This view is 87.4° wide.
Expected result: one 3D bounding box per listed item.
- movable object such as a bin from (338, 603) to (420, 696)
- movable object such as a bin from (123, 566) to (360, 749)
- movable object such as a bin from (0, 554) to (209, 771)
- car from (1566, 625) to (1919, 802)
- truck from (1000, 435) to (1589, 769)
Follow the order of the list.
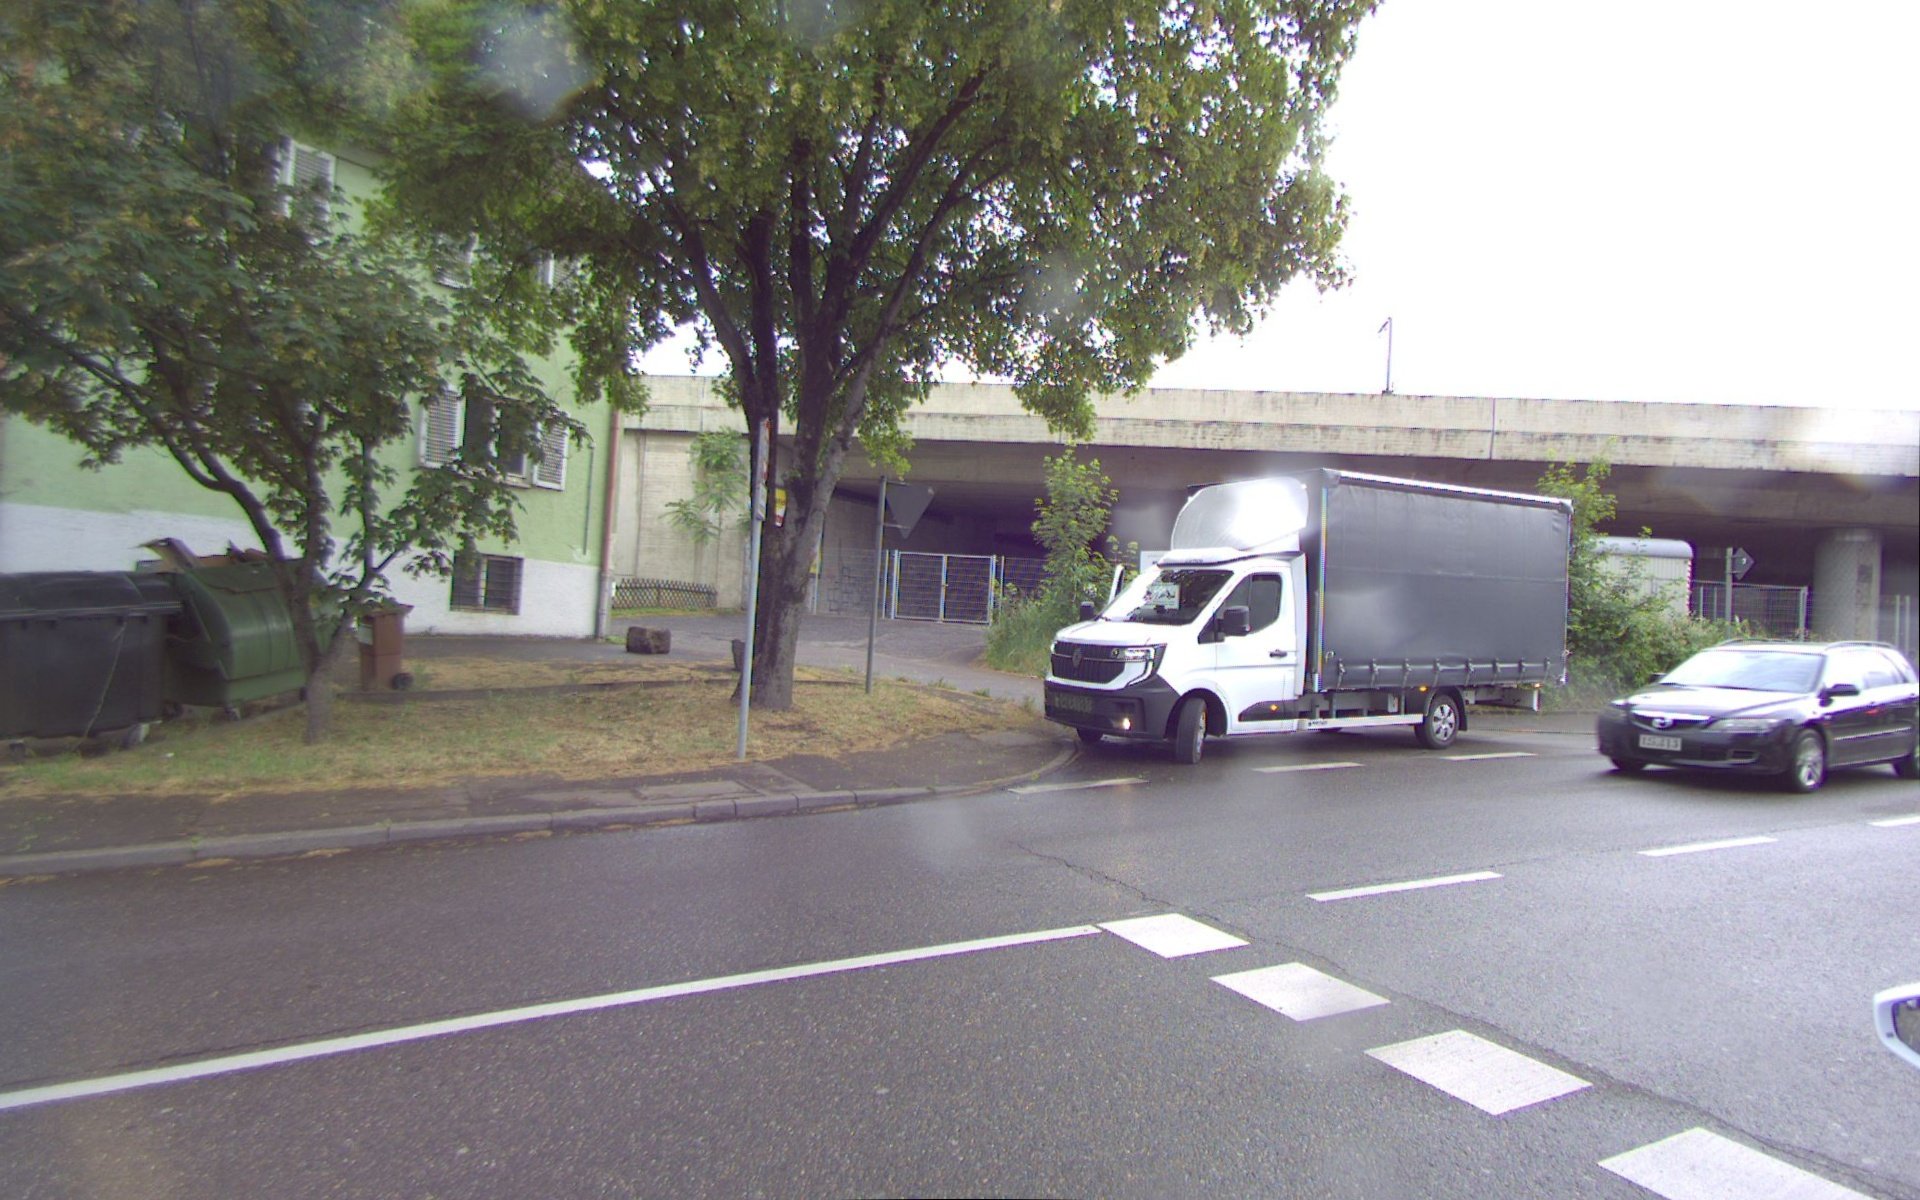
[{"bbox_3d":[-6.313,0.531,10.936,0.715,0.970,0.554,3,-1,-30],"label":"movable object such as a bin"},{"bbox_3d":[-6.689,0.471,9.454,1.078,1.457,1.463,5,5,13],"label":"movable object such as a bin"},{"bbox_3d":[-7.257,0.420,8.090,1.268,1.457,1.463,5,5,13],"label":"movable object such as a bin"},{"bbox_3d":[8.870,1.127,11.030,4.357,1.590,1.834,2,-1,-28],"label":"car"},{"bbox_3d":[4.502,0.172,12.886,7.681,3.279,2.599,3,-1,-29],"label":"truck"}]
